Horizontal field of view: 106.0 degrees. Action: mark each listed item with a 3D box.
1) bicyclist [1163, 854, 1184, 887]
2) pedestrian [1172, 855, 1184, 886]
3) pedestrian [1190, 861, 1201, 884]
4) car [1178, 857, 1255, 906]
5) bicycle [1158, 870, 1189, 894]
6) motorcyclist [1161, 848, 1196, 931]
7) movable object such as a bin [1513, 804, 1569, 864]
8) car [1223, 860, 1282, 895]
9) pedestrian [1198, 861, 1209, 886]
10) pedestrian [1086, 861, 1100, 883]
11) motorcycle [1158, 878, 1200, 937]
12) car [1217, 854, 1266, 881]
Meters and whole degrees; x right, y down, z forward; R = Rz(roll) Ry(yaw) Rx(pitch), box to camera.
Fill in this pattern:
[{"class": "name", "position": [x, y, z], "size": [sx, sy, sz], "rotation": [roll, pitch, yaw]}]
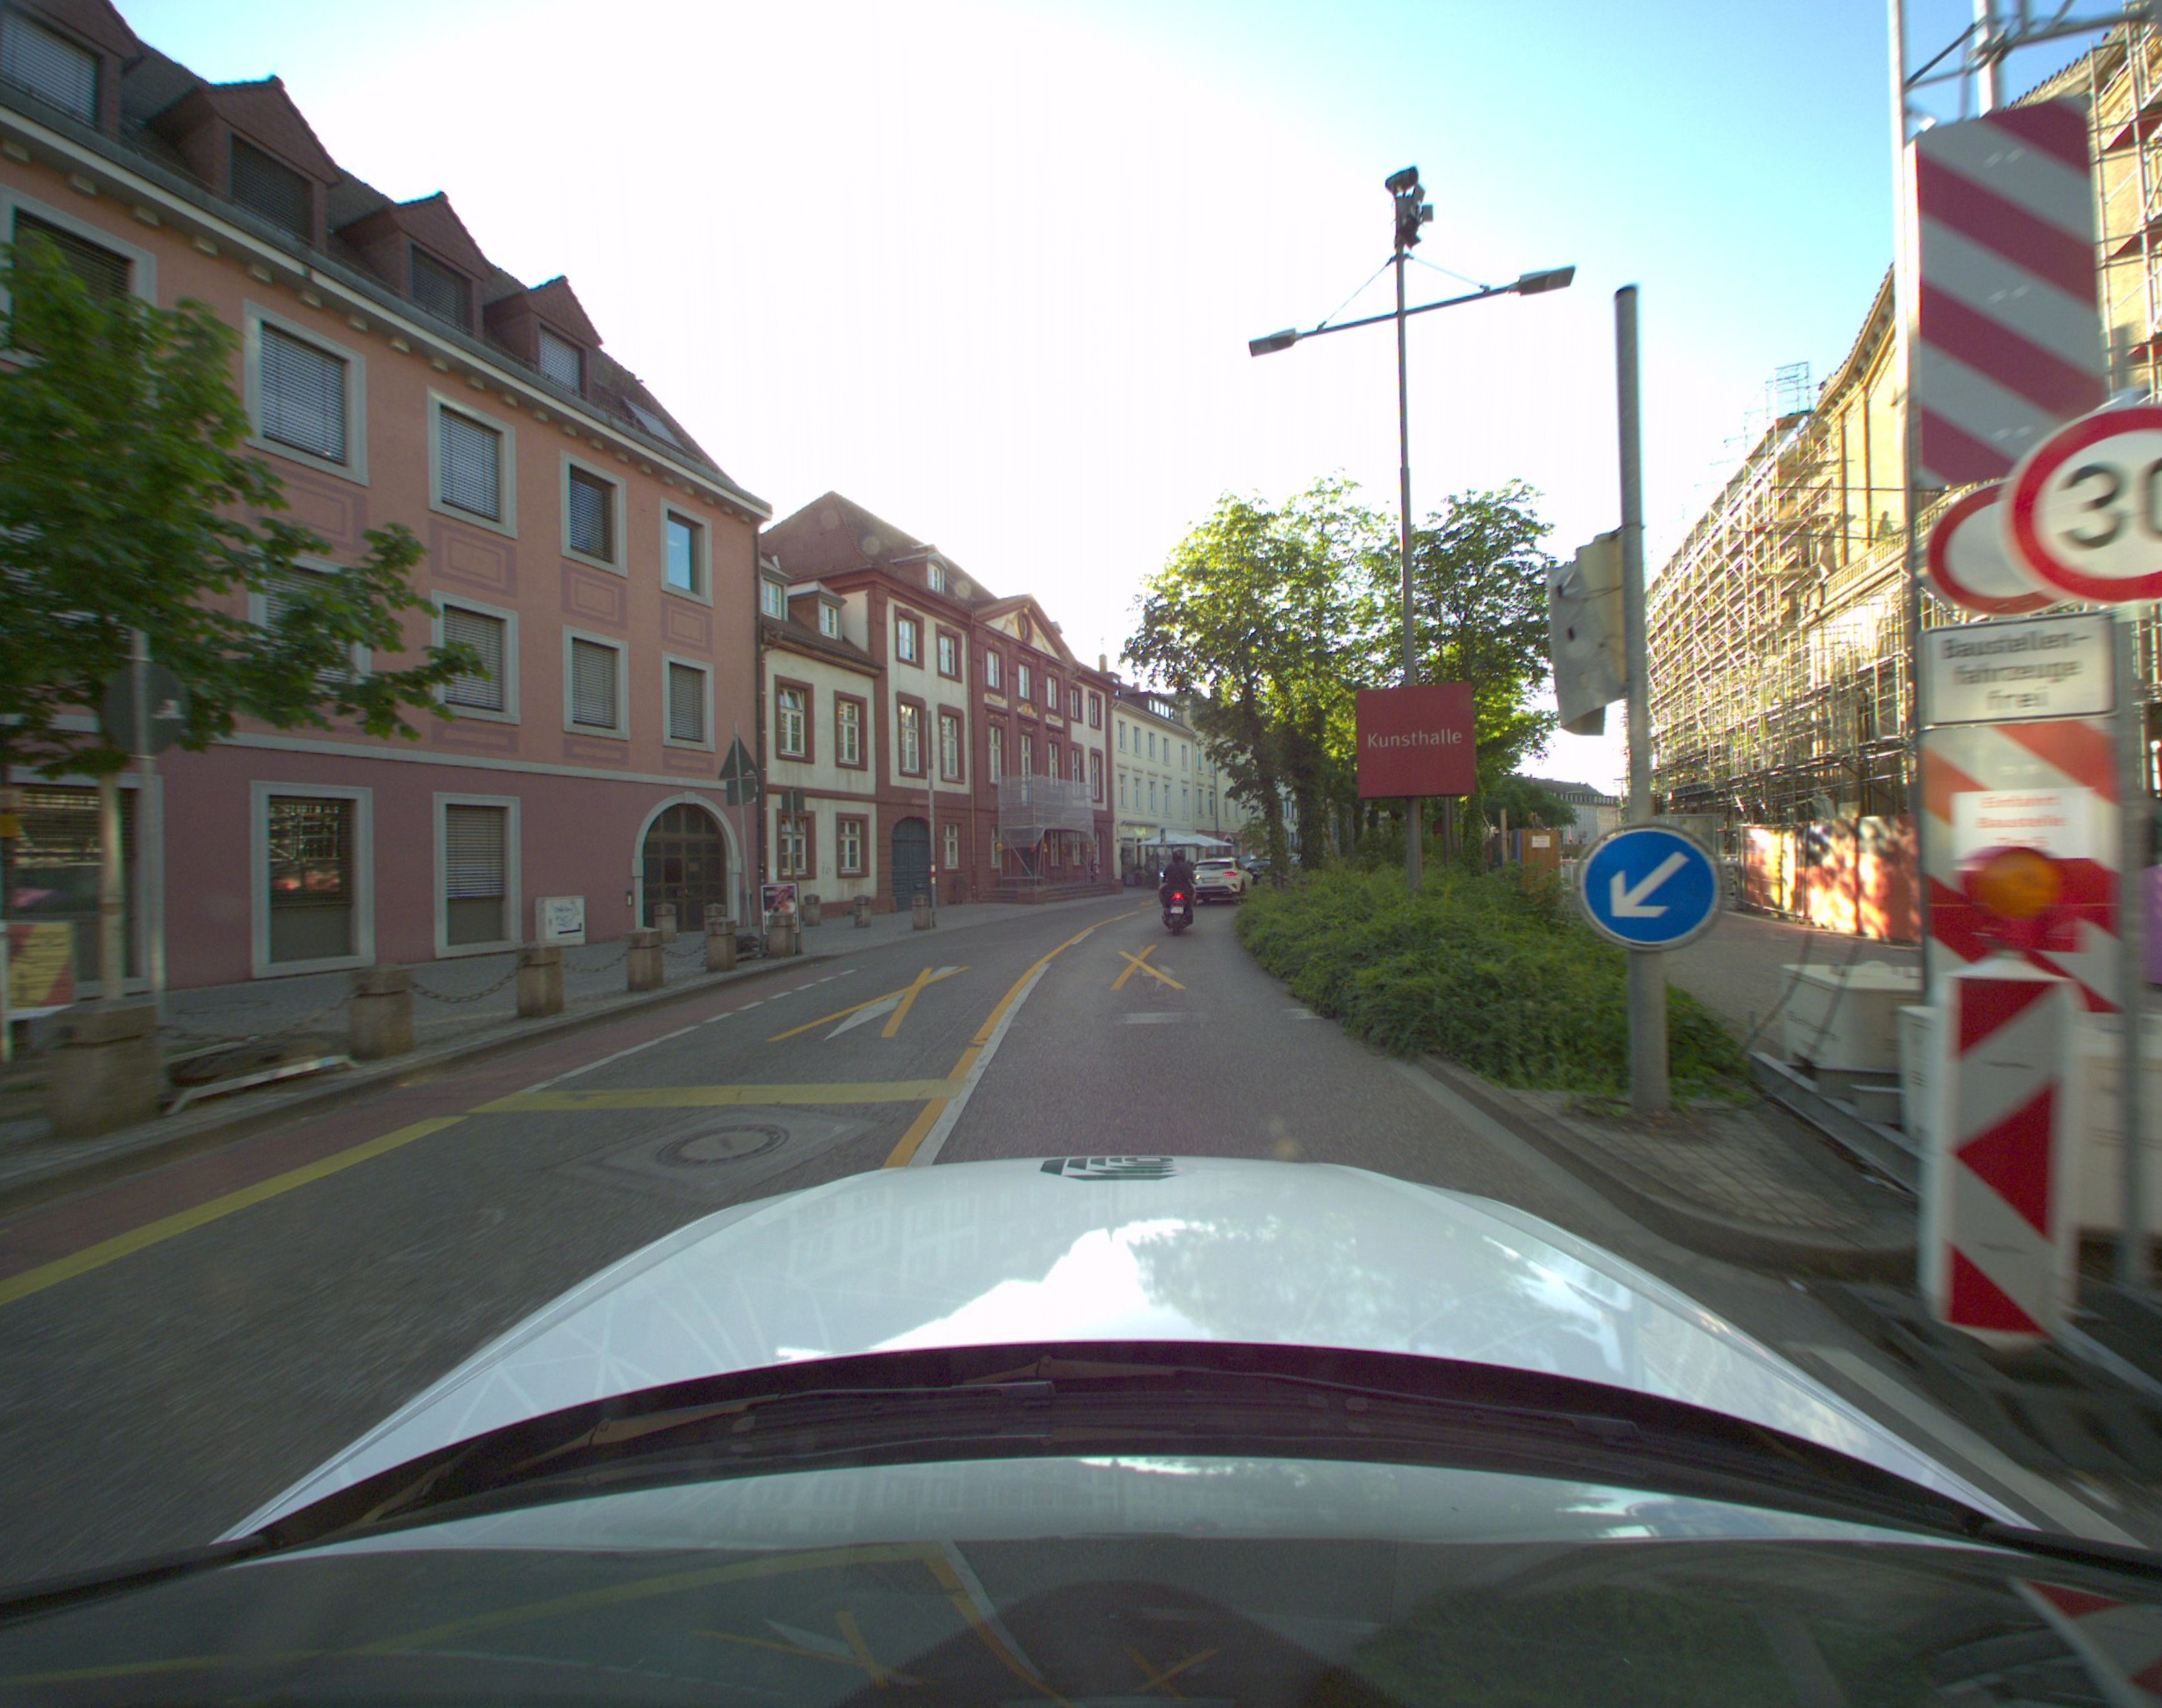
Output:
[{"class": "bicyclist", "position": [4.425, 0.777, 38.907], "size": [0.737, 1.583, 0.799], "rotation": [-1, 0, 26]}, {"class": "pedestrian", "position": [5.789, 0.985, 48.603], "size": [0.433, 1.775, 0.601], "rotation": [-2, -1, 38]}, {"class": "pedestrian", "position": [6.863, 1.116, 48.935], "size": [0.518, 1.391, 0.491], "rotation": [-2, -1, 22]}, {"class": "car", "position": [4.592, 0.861, 27.068], "size": [1.835, 1.480, 4.077], "rotation": [-1, 0, 19]}, {"class": "bicycle", "position": [4.440, 1.336, 38.914], "size": [0.764, 1.063, 2.090], "rotation": [-2, 0, 26]}, {"class": "motorcyclist", "position": [1.996, 0.722, 16.648], "size": [0.654, 1.650, 0.652], "rotation": [-2, -1, 7]}, {"class": "movable object such as a bin", "position": [38.198, -1.568, 67.476], "size": [3.275, 4.539, 7.955], "rotation": [-3, -1, 33]}, {"class": "car", "position": [7.893, 1.019, 37.312], "size": [1.824, 1.463, 4.080], "rotation": [-1, 0, 24]}, {"class": "pedestrian", "position": [7.124, 1.115, 47.387], "size": [0.466, 1.433, 0.505], "rotation": [-2, -1, 30]}, {"class": "pedestrian", "position": [0.586, 0.848, 39.452], "size": [0.532, 1.053, 0.554], "rotation": [-1, 0, 21]}, {"class": "motorcycle", "position": [1.972, 1.049, 16.470], "size": [0.792, 1.066, 1.728], "rotation": [-1, 0, 6]}, {"class": "car", "position": [10.966, 0.865, 55.290], "size": [1.904, 1.679, 4.814], "rotation": [-3, -1, 27]}]
